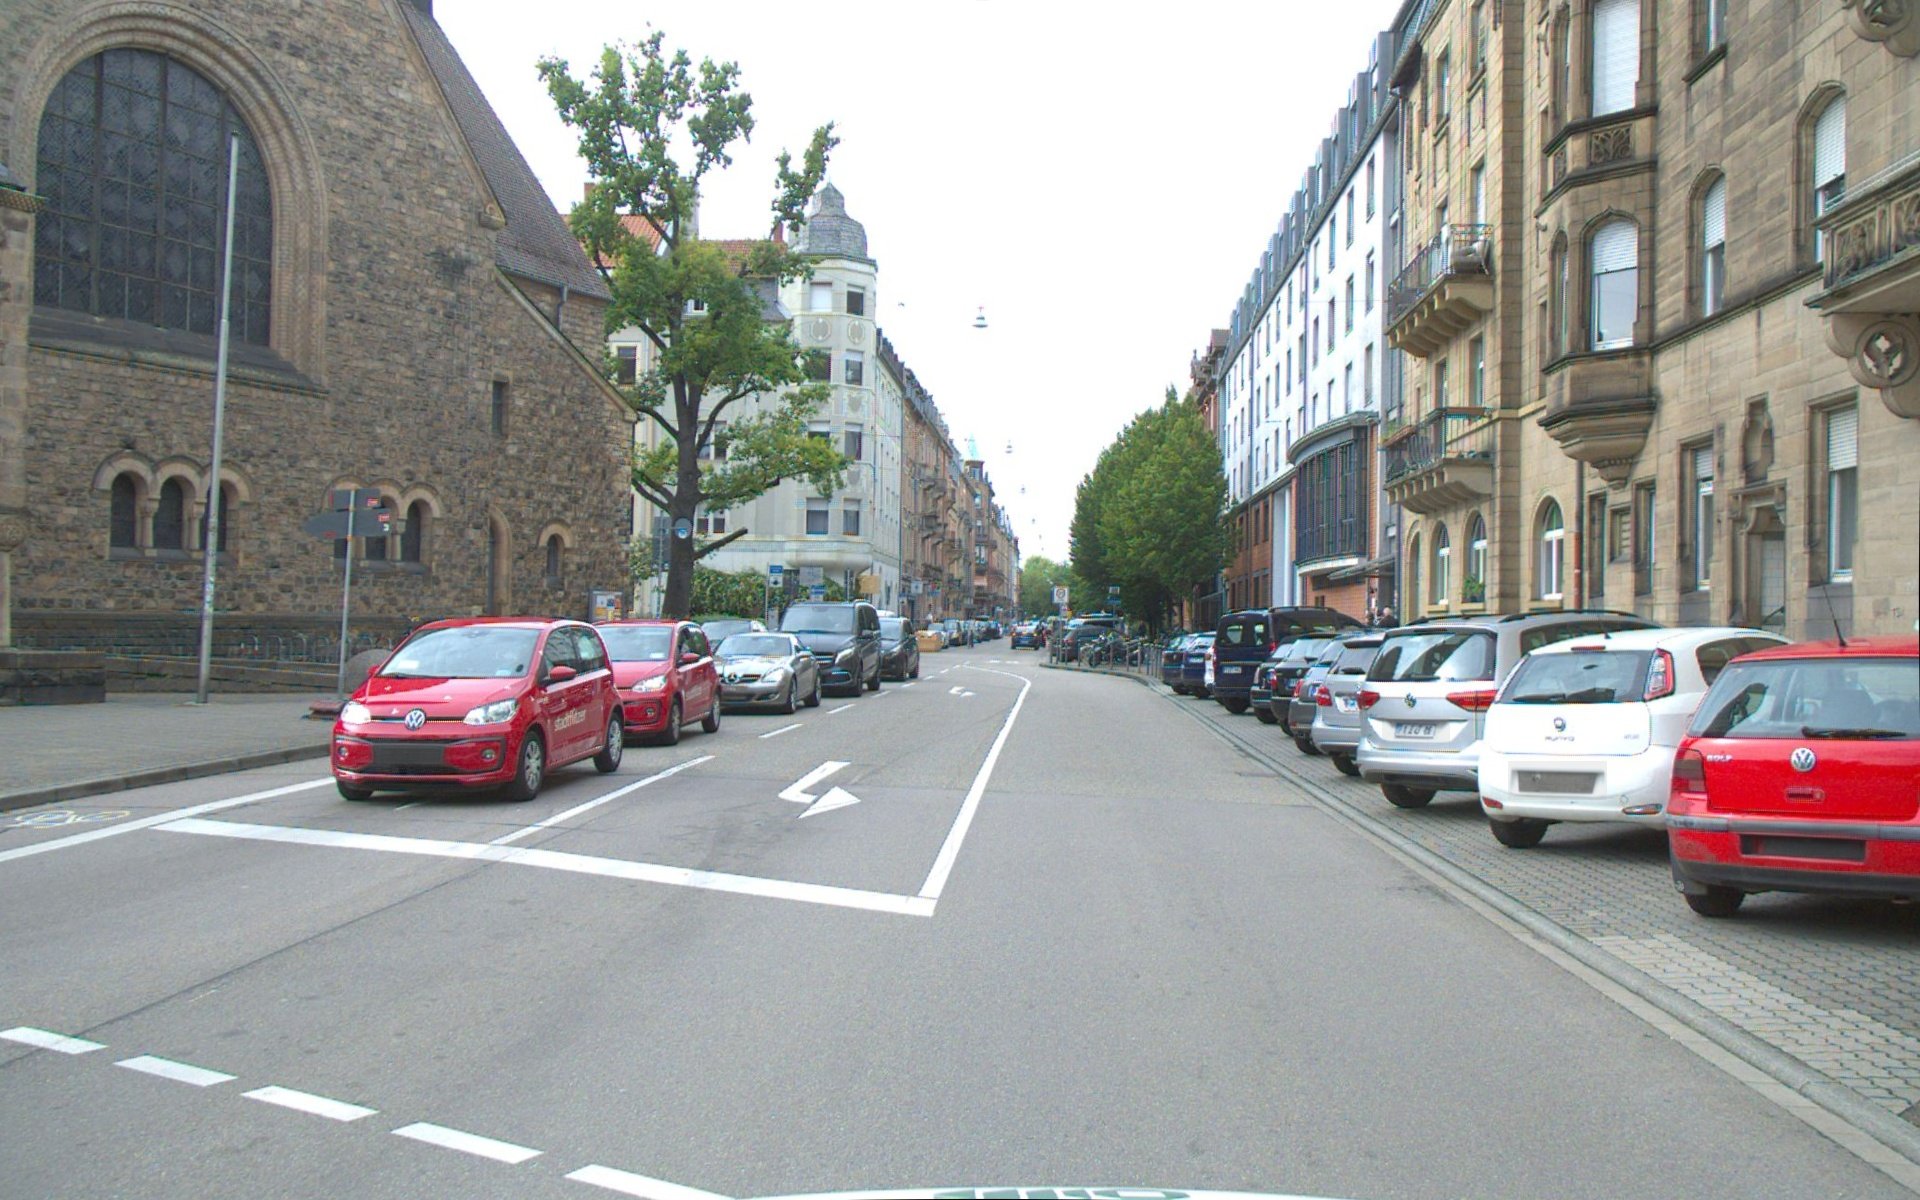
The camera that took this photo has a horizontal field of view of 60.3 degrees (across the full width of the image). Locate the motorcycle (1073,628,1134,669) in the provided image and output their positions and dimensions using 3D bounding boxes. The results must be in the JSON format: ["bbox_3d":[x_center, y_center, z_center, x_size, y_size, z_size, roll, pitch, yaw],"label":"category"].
[{"bbox_3d":[5.104,1.726,58.905,2.090,1.455,0.770,0,-2,0],"label":"motorcycle"}]

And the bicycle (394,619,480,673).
[{"bbox_3d":[-11.808,1.034,37.372,1.740,1.150,0.661,1,-1,16],"label":"bicycle"}]

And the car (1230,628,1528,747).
[{"bbox_3d":[6.144,1.200,24.078,4.414,1.580,1.829,1,-1,-36],"label":"car"}]

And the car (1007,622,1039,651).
[{"bbox_3d":[4.058,2.357,106.417,1.952,1.710,4.000,2,-2,2],"label":"car"}]

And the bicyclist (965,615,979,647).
[{"bbox_3d":[0.713,1.903,101.373,0.765,1.899,0.715,1,-1,5],"label":"bicyclist"}]

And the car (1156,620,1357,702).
[{"bbox_3d":[6.460,1.296,36.043,3.938,1.560,1.916,-2,0,-26],"label":"car"}]

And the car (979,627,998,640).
[{"bbox_3d":[2.951,3.454,171.698,1.953,1.344,3.999,1,-1,0],"label":"car"}]

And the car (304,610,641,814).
[{"bbox_3d":[-4.157,0.879,14.750,1.614,1.555,3.895,-1,0,4],"label":"car"}]

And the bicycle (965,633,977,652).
[{"bbox_3d":[0.656,2.610,101.226,0.555,1.106,1.987,1,-1,5],"label":"bicycle"}]

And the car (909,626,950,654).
[{"bbox_3d":[-1.729,2.296,94.535,1.903,1.580,3.819,0,-2,6],"label":"car"}]

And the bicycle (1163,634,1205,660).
[{"bbox_3d":[10.400,2.184,76.906,1.892,1.111,0.577,2,-2,3],"label":"bicycle"}]

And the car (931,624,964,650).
[{"bbox_3d":[-0.820,2.496,111.163,1.903,1.645,3.944,2,-1,3],"label":"car"}]

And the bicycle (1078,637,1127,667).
[{"bbox_3d":[5.542,2.028,64.485,1.845,1.161,0.612,0,-2,0],"label":"bicycle"}]

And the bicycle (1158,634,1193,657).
[{"bbox_3d":[10.954,2.335,83.969,1.716,1.111,0.565,2,-2,3],"label":"bicycle"}]

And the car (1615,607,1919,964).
[{"bbox_3d":[5.324,0.857,9.075,3.803,1.589,1.766,1,-2,-43],"label":"car"}]

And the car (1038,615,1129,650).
[{"bbox_3d":[7.663,2.031,102.459,5.549,2.164,1.930,1,-2,-31],"label":"car"}]

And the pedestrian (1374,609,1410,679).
[{"bbox_3d":[9.744,0.986,37.291,0.557,1.556,0.546,4,-3,-39],"label":"pedestrian"}]

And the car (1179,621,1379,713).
[{"bbox_3d":[6.455,1.300,33.330,3.957,1.629,1.743,-2,0,-37],"label":"car"}]

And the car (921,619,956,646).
[{"bbox_3d":[-1.355,2.085,105.969,1.903,1.645,3.944,2,-1,3],"label":"car"}]

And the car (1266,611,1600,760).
[{"bbox_3d":[6.076,1.008,21.032,4.415,1.601,1.725,-1,0,-36],"label":"car"}]

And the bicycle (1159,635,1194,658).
[{"bbox_3d":[11.112,2.372,84.806,1.716,1.111,0.565,2,-2,3],"label":"bicycle"}]

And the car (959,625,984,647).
[{"bbox_3d":[0.978,3.019,139.201,1.903,1.772,3.944,2,-1,3],"label":"car"}]

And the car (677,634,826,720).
[{"bbox_3d":[-3.402,1.248,27.641,1.668,1.309,4.044,-1,-2,4],"label":"car"}]

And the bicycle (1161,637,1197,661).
[{"bbox_3d":[10.656,2.374,80.516,1.716,1.111,0.565,2,-2,3],"label":"bicycle"}]

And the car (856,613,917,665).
[{"bbox_3d":[-2.932,1.569,67.090,1.804,1.973,4.550,2,-1,5],"label":"car"}]

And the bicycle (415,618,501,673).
[{"bbox_3d":[-11.578,1.046,38.148,1.740,1.187,0.742,1,-1,16],"label":"bicycle"}]

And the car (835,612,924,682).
[{"bbox_3d":[-2.081,1.219,43.911,1.806,1.713,4.550,2,-1,4],"label":"car"}]

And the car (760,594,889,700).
[{"bbox_3d":[-2.729,0.938,34.566,1.872,1.989,5.286,2,-1,4],"label":"car"}]

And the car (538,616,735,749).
[{"bbox_3d":[-3.927,0.993,20.643,1.569,1.482,3.719,-1,-2,2],"label":"car"}]

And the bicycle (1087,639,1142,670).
[{"bbox_3d":[5.596,1.978,59.953,1.968,1.081,0.612,0,-2,0],"label":"bicycle"}]

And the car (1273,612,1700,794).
[{"bbox_3d":[5.820,1.038,18.095,4.693,1.715,1.914,0,-2,-33],"label":"car"}]

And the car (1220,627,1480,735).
[{"bbox_3d":[6.468,1.293,27.334,4.025,1.479,2.006,-2,-1,-36],"label":"car"}]

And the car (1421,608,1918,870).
[{"bbox_3d":[5.223,0.903,12.049,3.552,1.535,1.824,-1,-2,-38],"label":"car"}]

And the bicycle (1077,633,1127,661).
[{"bbox_3d":[5.333,1.766,62.252,1.845,1.062,0.612,0,-2,0],"label":"bicycle"}]

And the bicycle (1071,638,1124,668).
[{"bbox_3d":[5.052,1.952,60.771,1.889,1.062,0.612,0,-2,0],"label":"bicycle"}]

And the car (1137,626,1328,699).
[{"bbox_3d":[6.425,1.438,38.983,4.186,1.504,1.674,-2,0,-21],"label":"car"}]

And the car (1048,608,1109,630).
[{"bbox_3d":[10.785,1.748,150.264,5.321,1.901,1.934,1,-2,-27],"label":"car"}]

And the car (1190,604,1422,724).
[{"bbox_3d":[6.350,1.097,30.198,4.239,1.940,1.854,-2,0,-38],"label":"car"}]

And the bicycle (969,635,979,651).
[{"bbox_3d":[0.888,2.752,105.770,0.524,0.995,1.865,2,-2,3],"label":"bicycle"}]

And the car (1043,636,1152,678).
[{"bbox_3d":[5.710,2.345,68.728,4.228,1.606,1.845,0,-1,-30],"label":"car"}]

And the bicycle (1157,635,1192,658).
[{"bbox_3d":[11.090,2.402,85.576,1.716,1.111,0.565,2,-2,3],"label":"bicycle"}]

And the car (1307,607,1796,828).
[{"bbox_3d":[5.303,0.945,14.733,4.168,1.712,1.896,0,-2,-31],"label":"car"}]
